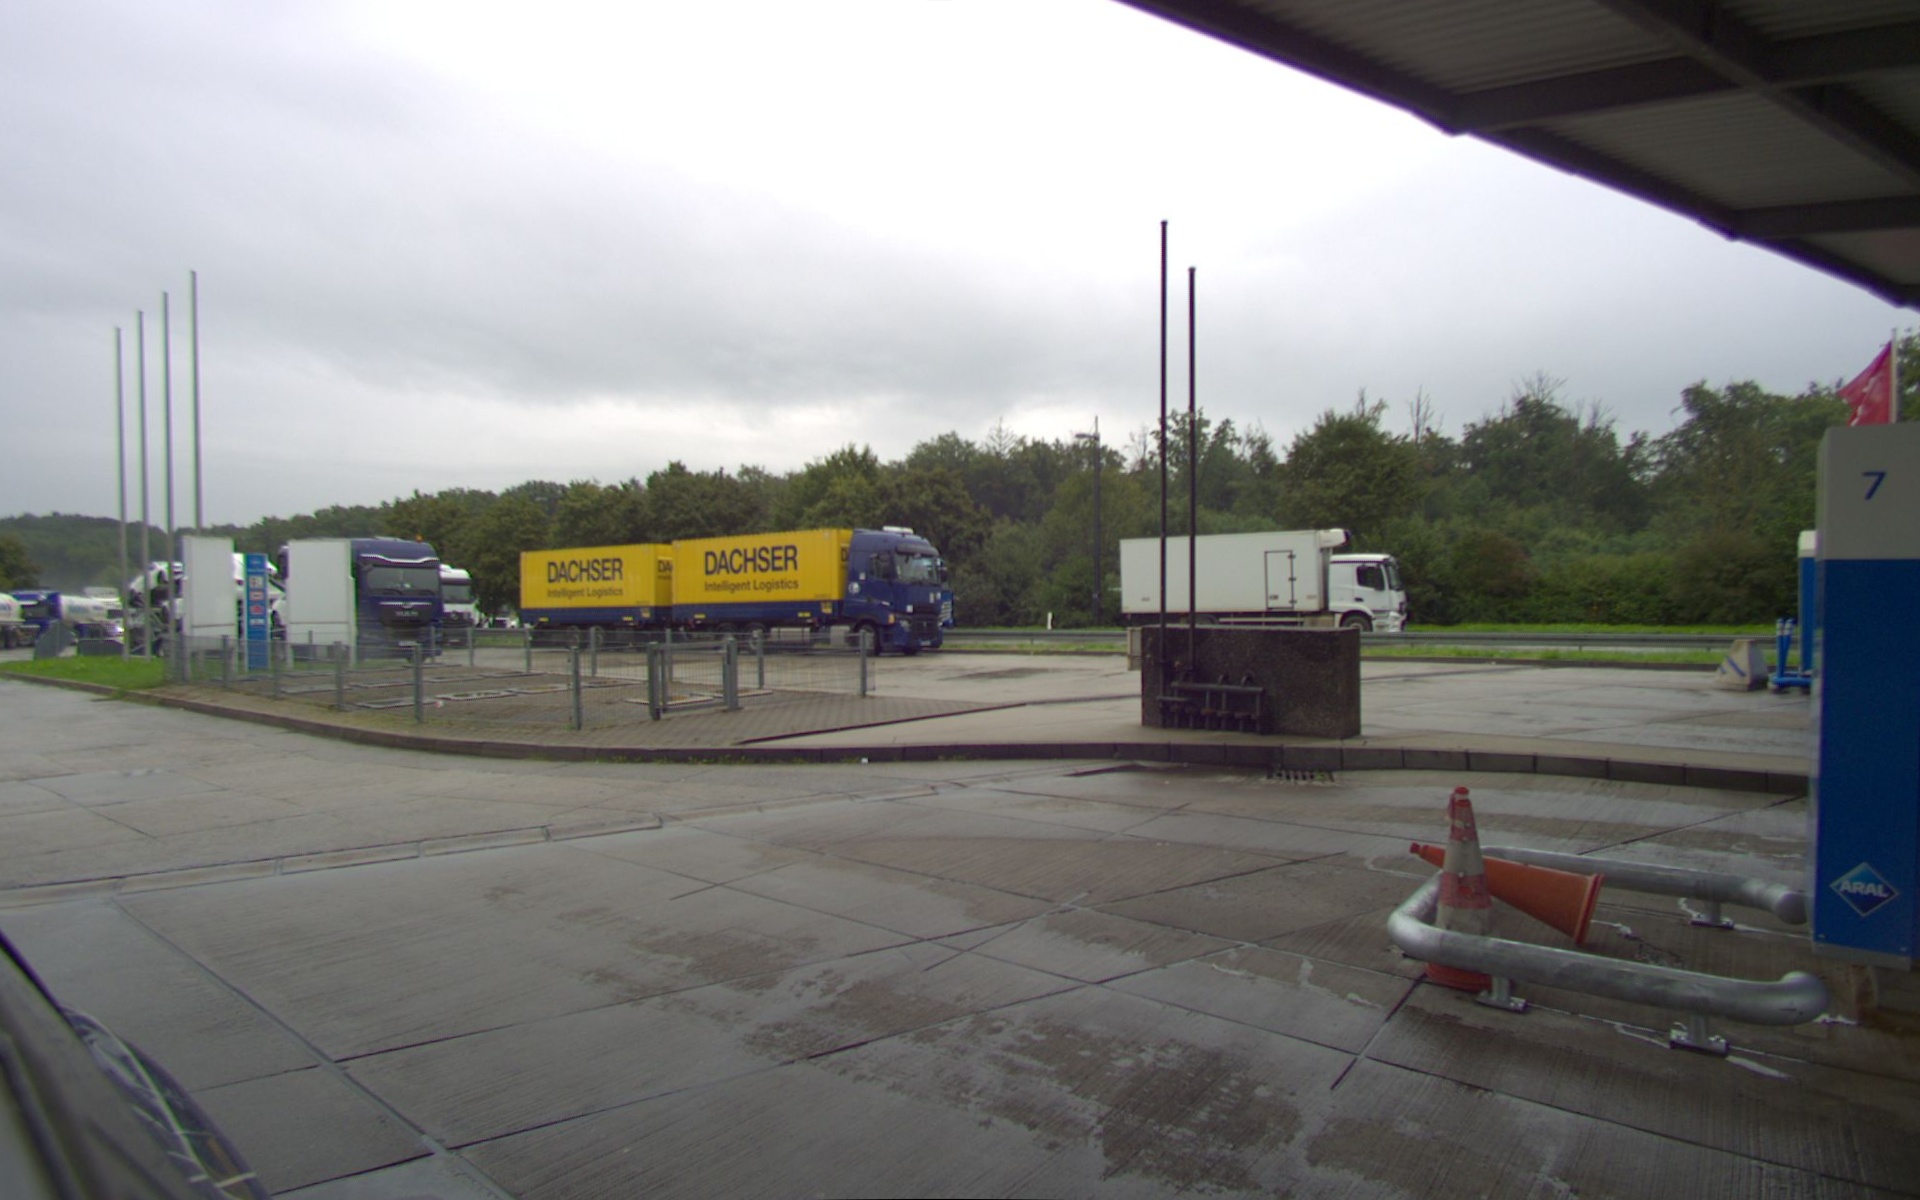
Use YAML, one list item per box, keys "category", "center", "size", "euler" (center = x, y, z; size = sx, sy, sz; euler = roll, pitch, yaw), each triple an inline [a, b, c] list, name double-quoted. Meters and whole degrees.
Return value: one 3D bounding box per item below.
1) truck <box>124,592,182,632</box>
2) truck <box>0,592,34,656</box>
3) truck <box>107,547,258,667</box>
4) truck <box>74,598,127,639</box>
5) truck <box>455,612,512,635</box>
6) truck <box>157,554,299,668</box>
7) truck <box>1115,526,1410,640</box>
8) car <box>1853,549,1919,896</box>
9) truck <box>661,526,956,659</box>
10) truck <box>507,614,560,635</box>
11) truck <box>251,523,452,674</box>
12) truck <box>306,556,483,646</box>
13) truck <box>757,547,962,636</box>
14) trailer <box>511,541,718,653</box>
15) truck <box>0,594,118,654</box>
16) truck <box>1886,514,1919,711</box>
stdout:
- category: "truck"
  center: [-109.243, 1.632, 136.878]
  size: [11.498, 5.160, 3.109]
  euler: [-1, 0, 36]
- category: "truck"
  center: [-55.165, 1.333, 53.693]
  size: [3.454, 3.633, 14.444]
  euler: [-1, -1, -19]
- category: "truck"
  center: [-29.597, 0.295, 38.451]
  size: [6.605, 4.213, 2.635]
  euler: [-1, 0, 35]
- category: "truck"
  center: [-90.950, 1.904, 106.963]
  size: [11.525, 4.160, 3.101]
  euler: [-1, 0, 44]
- category: "truck"
  center: [-46.034, 2.265, 97.689]
  size: [5.810, 2.140, 2.061]
  euler: [-1, 0, 31]
- category: "truck"
  center: [-26.115, 0.391, 36.078]
  size: [4.738, 3.800, 2.635]
  euler: [-1, 0, 34]
- category: "truck"
  center: [10.961, -0.522, 37.454]
  size: [10.195, 3.836, 2.395]
  euler: [-1, 0, 31]
- category: "car"
  center: [6.903, 0.540, 3.805]
  size: [5.269, 1.620, 1.842]
  euler: [-1, 0, 41]
- category: "truck"
  center: [-5.345, -0.182, 34.034]
  size: [10.654, 3.946, 2.727]
  euler: [-1, 0, 33]
- category: "truck"
  center: [-44.333, 2.540, 105.193]
  size: [5.810, 2.140, 2.061]
  euler: [-1, 0, 31]
- category: "truck"
  center: [-19.017, 0.007, 31.482]
  size: [7.089, 4.213, 2.635]
  euler: [-1, 0, 35]
- category: "truck"
  center: [-27.327, 0.099, 48.633]
  size: [10.654, 3.946, 2.727]
  euler: [-1, 0, 33]
- category: "truck"
  center: [-4.888, -0.319, 47.649]
  size: [10.195, 3.836, 2.395]
  euler: [-1, 0, 31]
- category: "trailer"
  center: [-13.508, -0.078, 39.263]
  size: [8.679, 3.946, 2.728]
  euler: [-1, 0, 32]
- category: "truck"
  center: [-61.504, 1.616, 68.660]
  size: [3.454, 3.633, 14.709]
  euler: [-1, -1, -27]
- category: "truck"
  center: [14.985, 0.121, 11.960]
  size: [5.859, 2.513, 2.208]
  euler: [-1, 0, 41]
